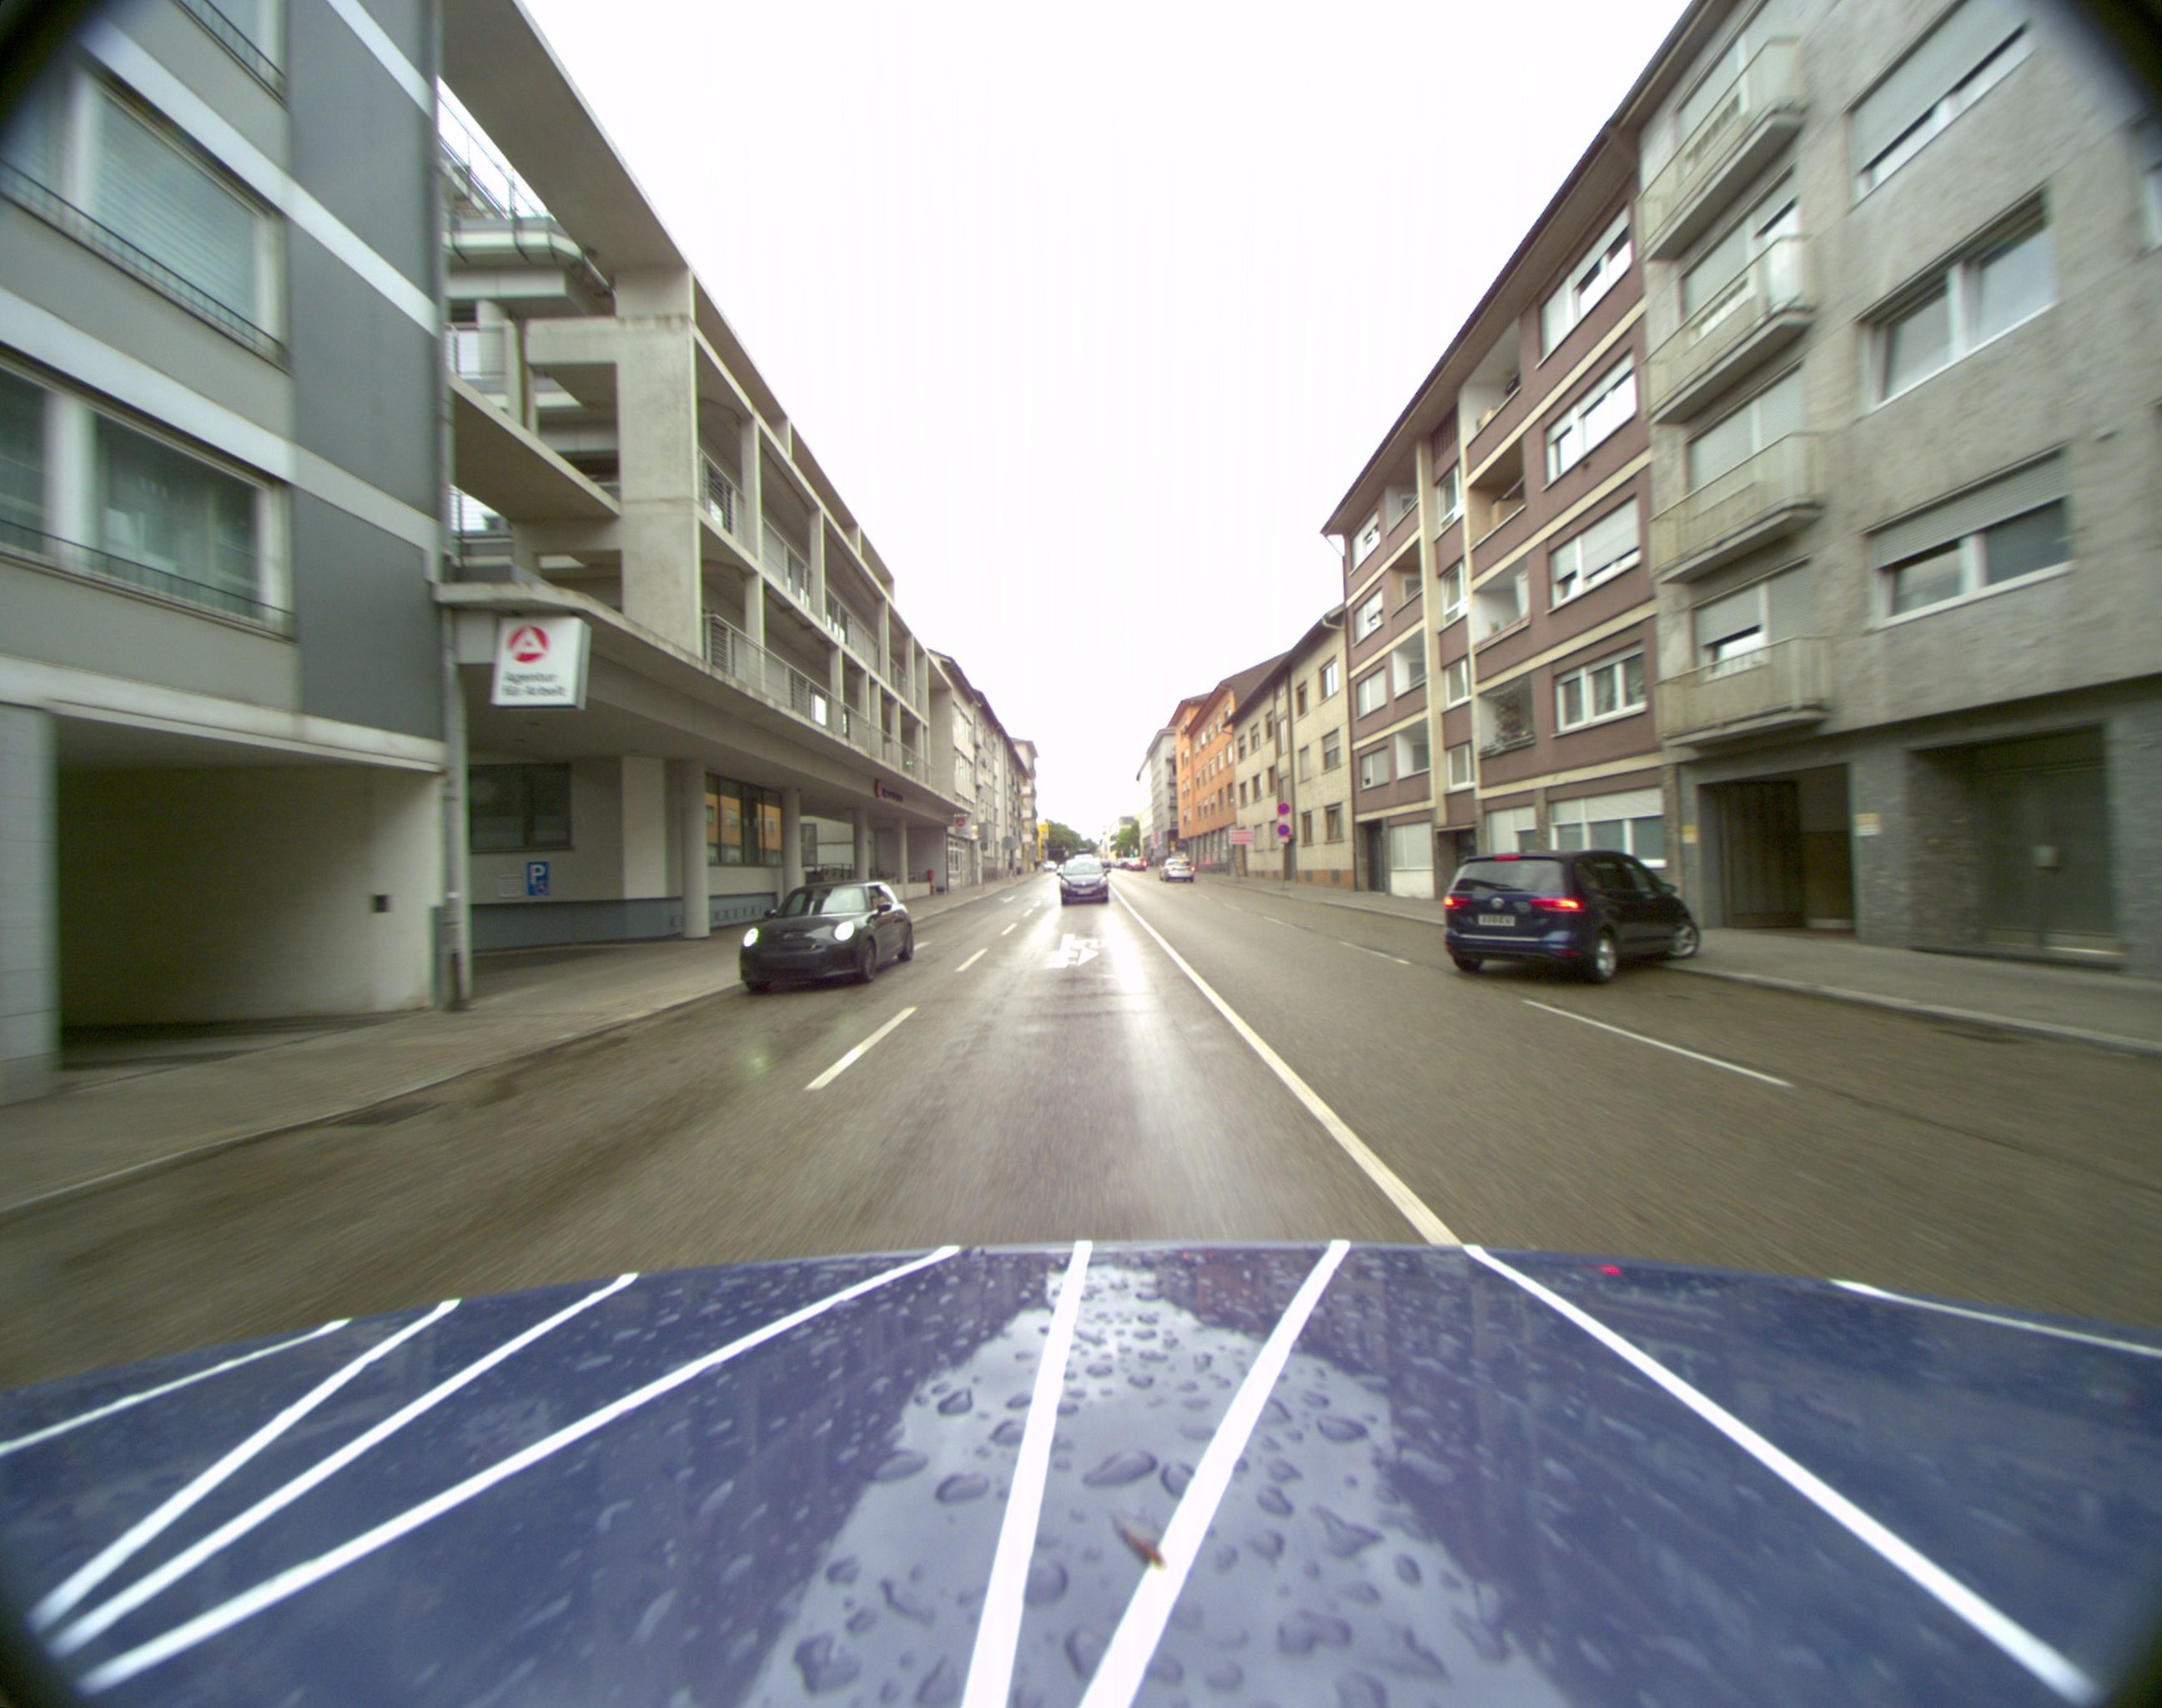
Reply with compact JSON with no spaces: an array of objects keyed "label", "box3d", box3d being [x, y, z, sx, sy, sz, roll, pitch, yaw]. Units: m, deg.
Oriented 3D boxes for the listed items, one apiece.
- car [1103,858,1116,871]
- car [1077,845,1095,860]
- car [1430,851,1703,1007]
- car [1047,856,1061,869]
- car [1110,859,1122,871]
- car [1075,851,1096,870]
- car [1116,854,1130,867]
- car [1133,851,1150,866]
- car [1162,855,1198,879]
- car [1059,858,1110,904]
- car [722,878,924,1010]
[{"label":"car","box3d":[4.061,1.453,108.777,1.721,1.652,3.679,-3,1,2]},{"label":"car","box3d":[0.603,-0.213,88.690,1.851,1.652,3.679,-3,1,2]},{"label":"car","box3d":[6.753,0.825,10.380,4.317,1.566,1.995,-2,0,-41]},{"label":"car","box3d":[-3.980,1.221,110.955,1.721,1.652,3.679,-3,1,2]},{"label":"car","box3d":[5.322,1.636,117.195,1.721,1.652,3.679,-3,1,2]},{"label":"car","box3d":[0.423,0.608,70.727,1.721,1.652,3.679,-3,1,2]},{"label":"car","box3d":[5.691,0.828,102.668,1.721,1.652,3.679,-3,1,2]},{"label":"car","box3d":[7.113,0.550,89.540,1.721,1.652,3.679,-3,1,2]},{"label":"car","box3d":[6.338,0.799,49.018,1.732,1.452,4.071,1,0,0]},{"label":"car","box3d":[0.113,0.976,29.152,1.732,1.472,4.071,-4,1,0]},{"label":"car","box3d":[-3.727,1.219,11.778,1.664,1.412,4.071,-4,1,0]}]
